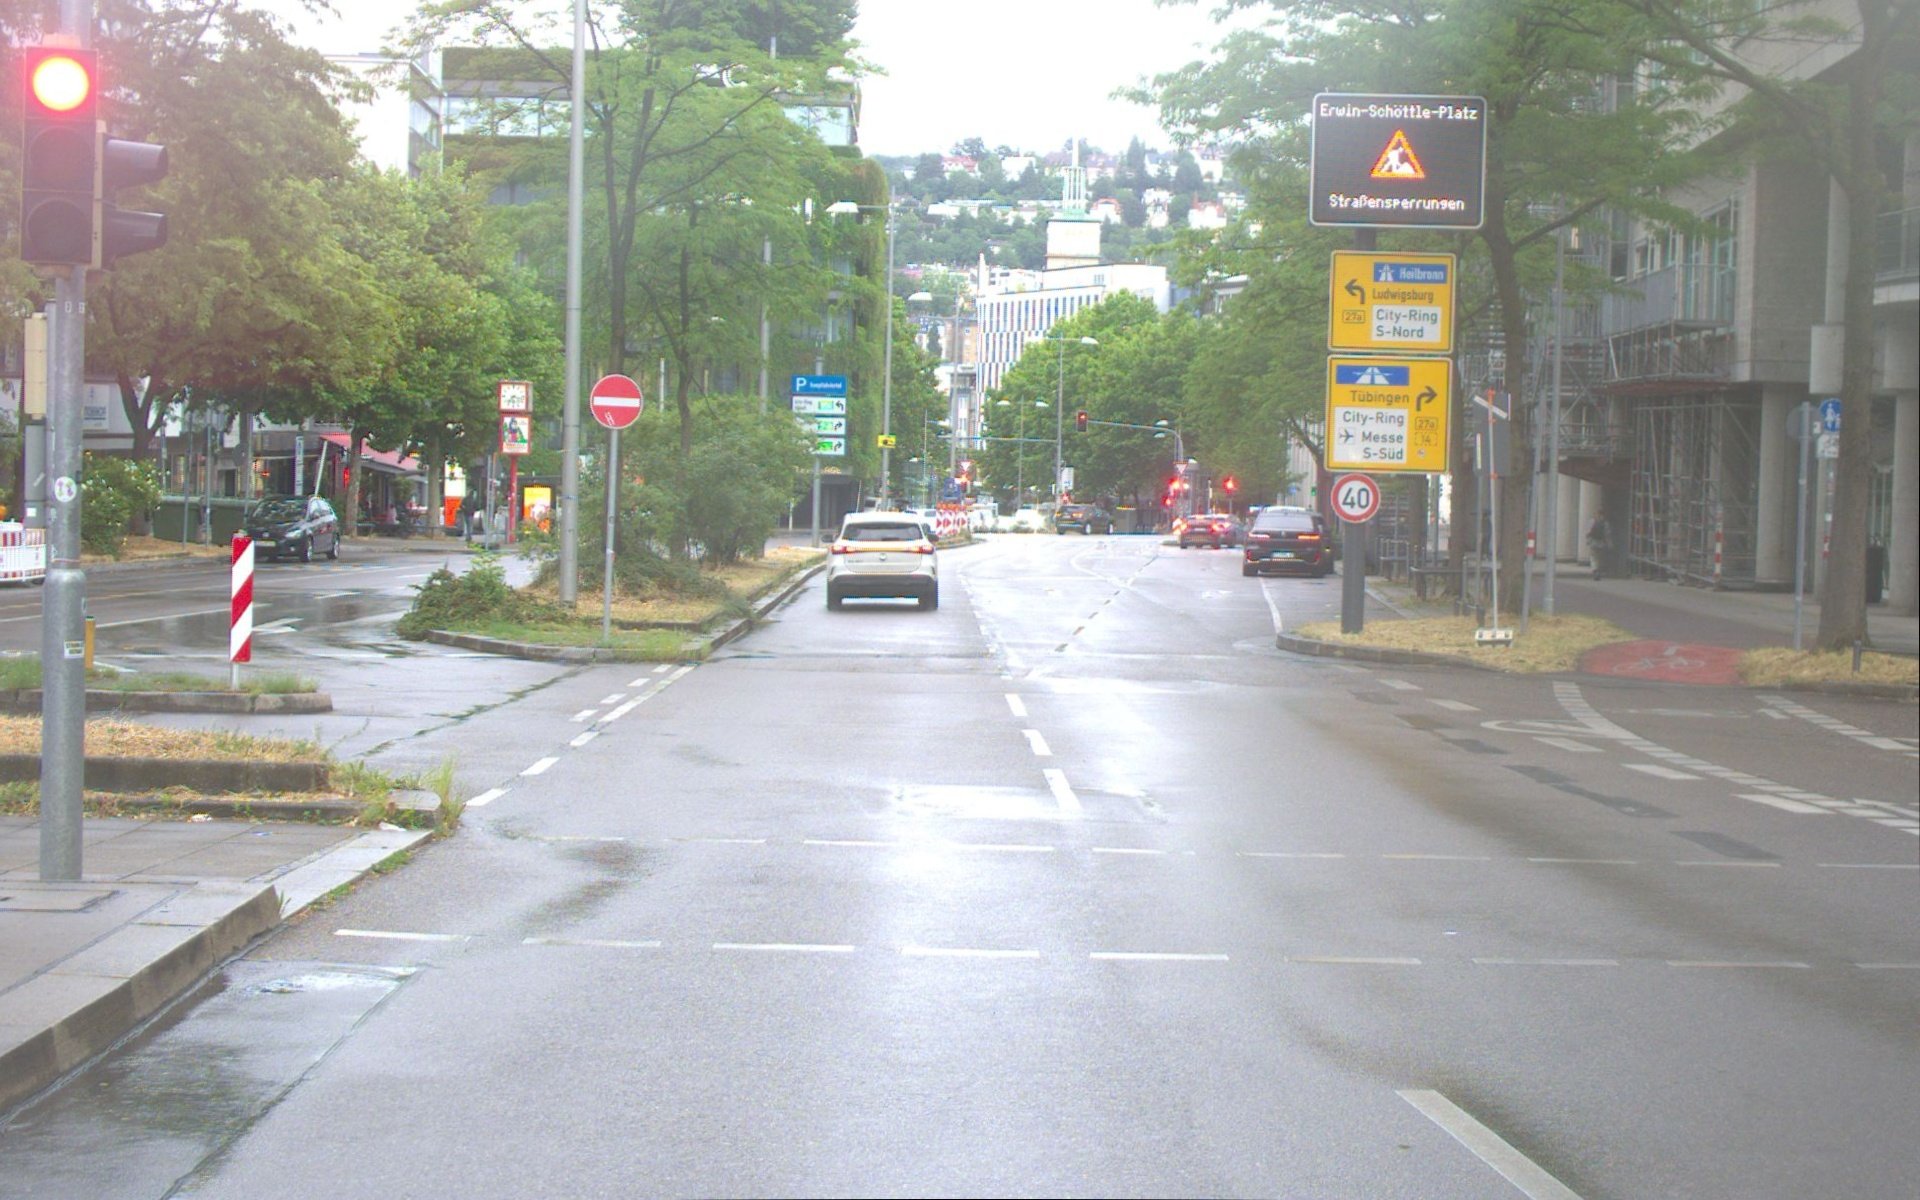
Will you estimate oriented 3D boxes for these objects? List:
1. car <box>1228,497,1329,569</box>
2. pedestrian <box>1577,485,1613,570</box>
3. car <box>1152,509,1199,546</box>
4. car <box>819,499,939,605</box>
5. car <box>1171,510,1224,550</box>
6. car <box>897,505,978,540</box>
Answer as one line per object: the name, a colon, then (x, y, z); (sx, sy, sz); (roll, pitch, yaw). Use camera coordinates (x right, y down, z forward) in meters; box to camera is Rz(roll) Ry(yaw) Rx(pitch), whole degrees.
car: (7.754, -1.634, 83.421); (2.339, 1.685, 3.999); (1, 2, 6)
pedestrian: (14.536, -1.659, 78.716); (0.775, 1.914, 0.702); (1, 0, 10)
car: (10.447, -3.499, 166.797); (1.993, 1.730, 4.000); (1, 0, -1)
car: (-1.403, -0.817, 57.891); (1.828, 1.634, 4.301); (2, 1, -3)
car: (10.713, -3.148, 155.266); (1.993, 1.718, 4.000); (1, 0, -1)
car: (-1.257, -4.266, 189.561); (3.987, 1.752, 2.000); (2, 1, -35)
